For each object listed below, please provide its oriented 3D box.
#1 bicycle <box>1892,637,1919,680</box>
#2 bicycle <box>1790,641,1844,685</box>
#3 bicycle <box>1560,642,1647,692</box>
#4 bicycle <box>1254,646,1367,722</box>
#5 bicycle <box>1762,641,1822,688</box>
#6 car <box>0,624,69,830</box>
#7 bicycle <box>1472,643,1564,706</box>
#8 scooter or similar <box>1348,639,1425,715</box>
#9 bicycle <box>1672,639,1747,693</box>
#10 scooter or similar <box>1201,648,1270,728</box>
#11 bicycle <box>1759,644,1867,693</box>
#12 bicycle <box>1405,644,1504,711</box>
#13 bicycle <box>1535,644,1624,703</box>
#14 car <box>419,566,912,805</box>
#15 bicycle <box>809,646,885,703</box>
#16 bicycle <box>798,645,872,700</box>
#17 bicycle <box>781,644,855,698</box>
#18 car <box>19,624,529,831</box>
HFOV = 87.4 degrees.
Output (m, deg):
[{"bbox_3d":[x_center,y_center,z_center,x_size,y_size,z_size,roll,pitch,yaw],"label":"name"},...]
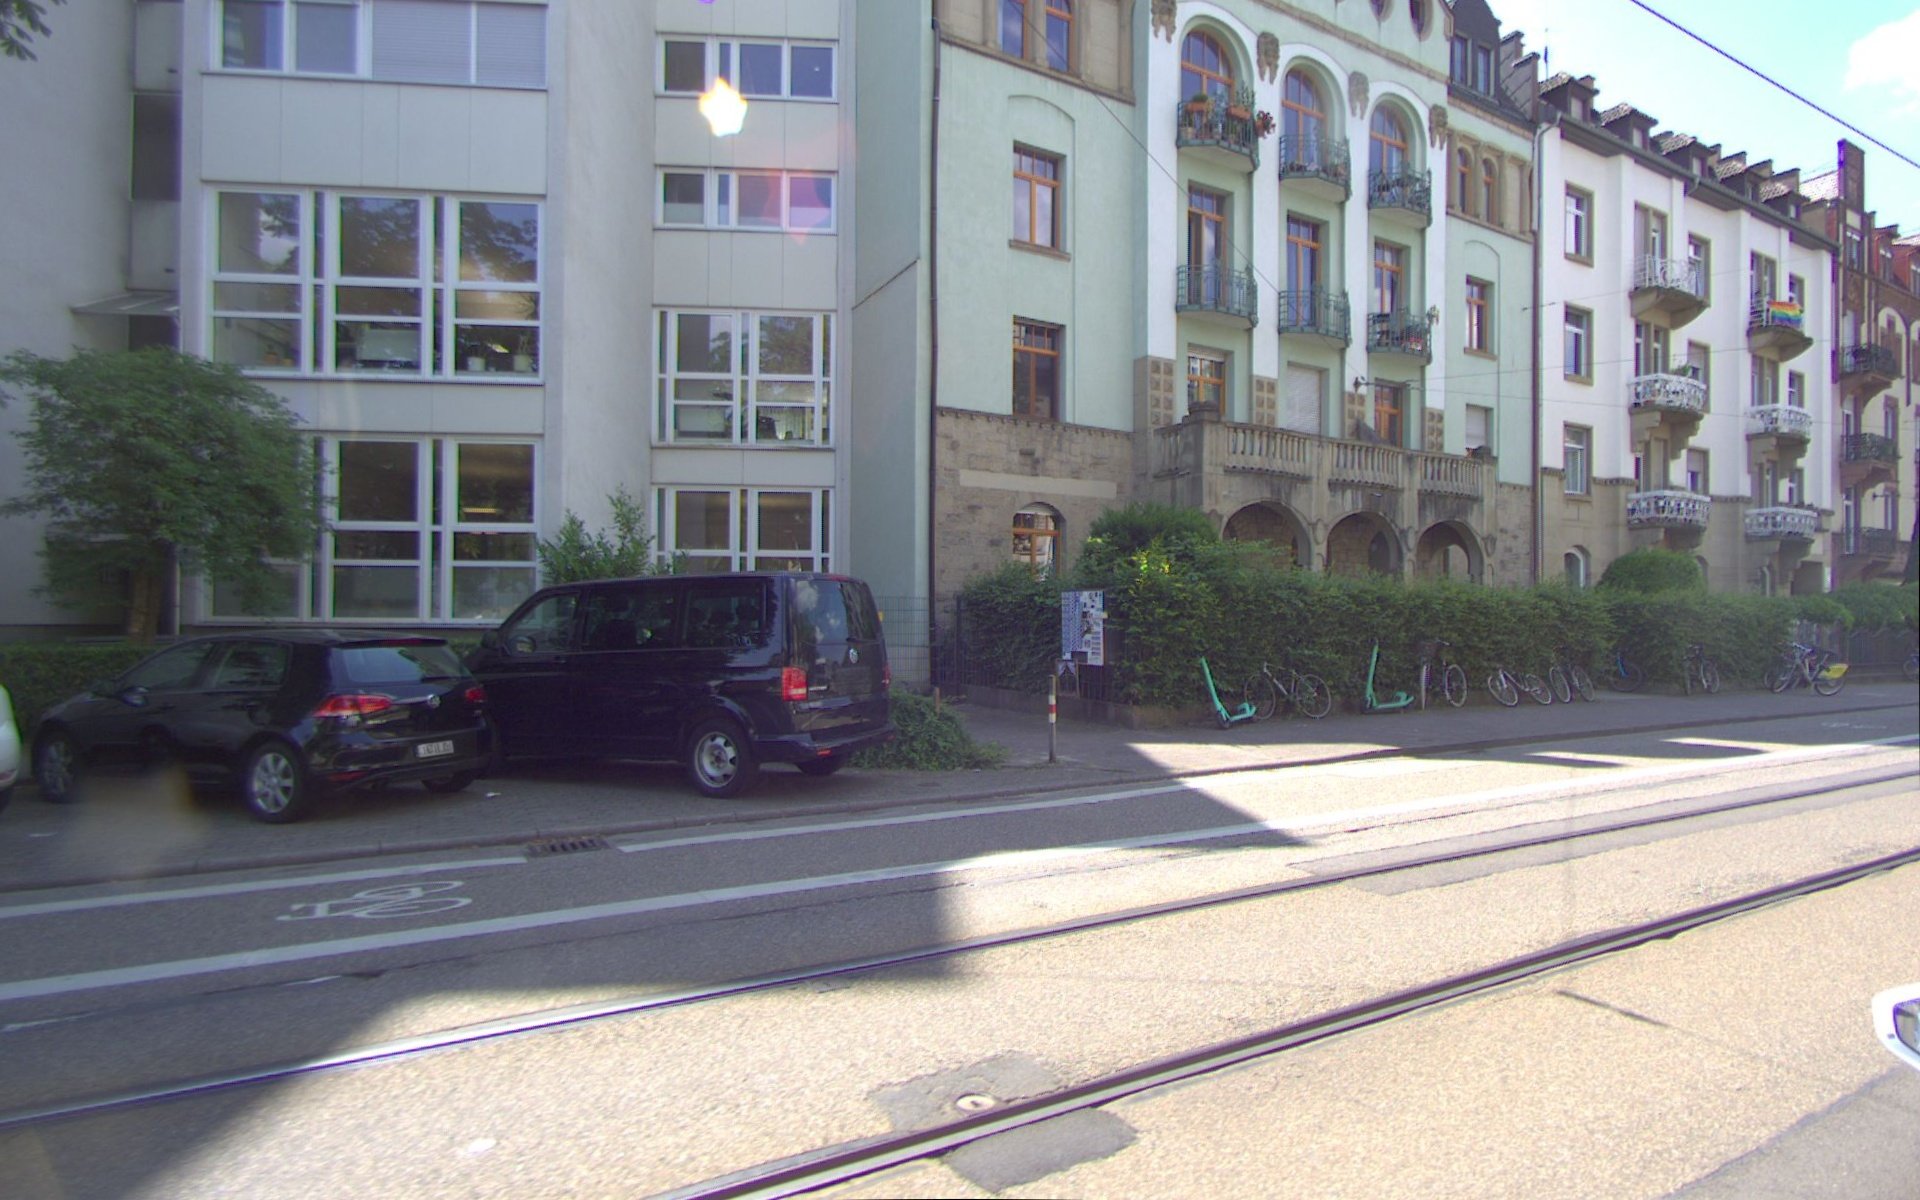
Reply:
[{"bbox_3d":[26.252,1.586,27.474,1.751,1.079,0.604,1,3,-31],"label":"bicycle"},{"bbox_3d":[20.472,1.486,23.993,1.705,0.979,0.411,1,2,-30],"label":"bicycle"},{"bbox_3d":[13.974,1.446,21.857,0.387,0.941,1.564,1,1,-29],"label":"bicycle"},{"bbox_3d":[5.220,1.224,14.929,1.688,1.002,0.604,1,3,-31],"label":"bicycle"},{"bbox_3d":[19.003,1.457,22.926,1.688,1.013,0.462,1,2,-30],"label":"bicycle"},{"bbox_3d":[-8.716,0.900,7.234,3.554,1.473,1.727,0,-1,14],"label":"car"},{"bbox_3d":[9.800,1.280,17.624,1.688,1.002,0.604,1,3,-31],"label":"bicycle"},{"bbox_3d":[6.686,1.184,15.723,1.275,1.135,0.404,1,-1,-29],"label":"scooter or similar"},{"bbox_3d":[16.004,1.386,21.438,1.751,1.046,0.604,1,3,-31],"label":"bicycle"},{"bbox_3d":[3.862,1.205,14.021,0.401,1.033,1.216,-1,-1,44],"label":"scooter or similar"},{"bbox_3d":[18.397,1.461,21.691,1.739,1.012,0.610,0,-1,6],"label":"bicycle"},{"bbox_3d":[8.203,1.256,16.659,1.688,1.002,0.604,1,3,-31],"label":"bicycle"},{"bbox_3d":[11.443,1.334,18.538,1.751,0.989,0.604,1,3,-31],"label":"bicycle"},{"bbox_3d":[-2.928,0.732,10.012,4.498,1.951,1.961,0,-1,23],"label":"car"},{"bbox_3d":[-2.107,1.377,18.838,1.404,1.010,0.399,2,-2,-39],"label":"bicycle"},{"bbox_3d":[-2.378,1.370,19.177,1.404,1.010,0.399,2,-2,-39],"label":"bicycle"},{"bbox_3d":[-2.778,1.382,19.710,1.401,1.010,0.400,1,-2,-33],"label":"bicycle"},{"bbox_3d":[-5.908,0.956,8.716,3.867,1.473,1.683,0,-1,19],"label":"car"}]
